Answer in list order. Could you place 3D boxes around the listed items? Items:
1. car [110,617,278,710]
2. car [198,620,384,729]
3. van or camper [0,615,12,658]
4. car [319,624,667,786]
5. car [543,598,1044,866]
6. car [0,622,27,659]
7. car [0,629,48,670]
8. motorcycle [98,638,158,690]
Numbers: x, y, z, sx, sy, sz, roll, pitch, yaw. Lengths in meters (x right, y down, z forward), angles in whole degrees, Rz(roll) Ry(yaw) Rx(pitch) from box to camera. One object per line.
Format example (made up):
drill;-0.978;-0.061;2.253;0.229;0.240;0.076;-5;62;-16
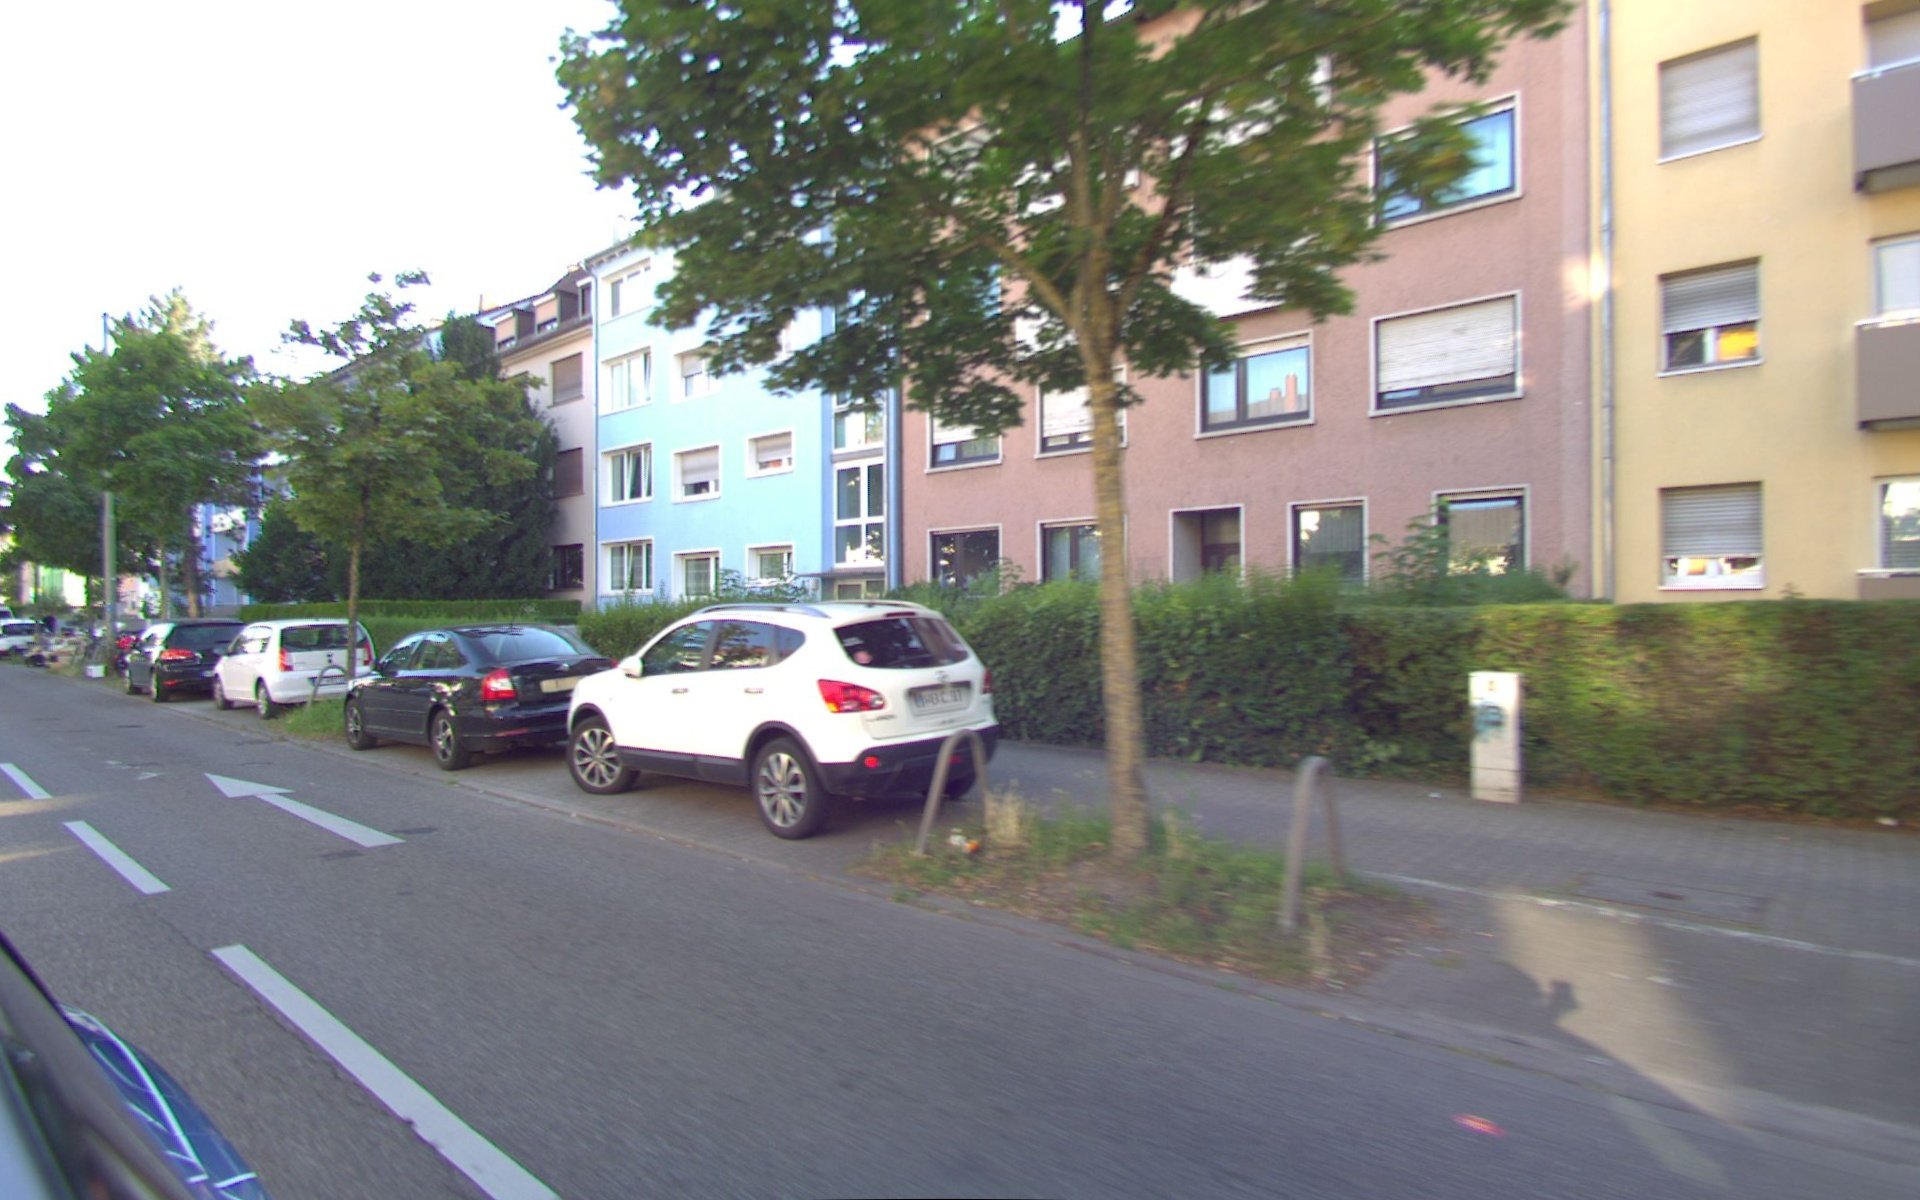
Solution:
car;-14.913;1.146;19.612;4.315;1.529;1.818;-1;1;42
car;-10.899;1.112;16.409;3.640;1.503;1.575;0;0;41
van or camper;-47.358;1.771;48.835;4.861;2.029;1.786;-1;0;40
car;-5.466;1.024;11.586;4.456;1.459;1.973;-1;-1;41
car;-1.528;0.834;8.200;4.184;1.600;1.758;-1;0;42
car;-39.845;1.675;41.849;3.490;1.480;1.557;-2;0;43
car;-36.044;1.857;38.513;3.881;1.454;1.662;-2;0;43
motorcycle;-19.741;1.496;24.002;2.170;1.145;0.632;-1;1;39
